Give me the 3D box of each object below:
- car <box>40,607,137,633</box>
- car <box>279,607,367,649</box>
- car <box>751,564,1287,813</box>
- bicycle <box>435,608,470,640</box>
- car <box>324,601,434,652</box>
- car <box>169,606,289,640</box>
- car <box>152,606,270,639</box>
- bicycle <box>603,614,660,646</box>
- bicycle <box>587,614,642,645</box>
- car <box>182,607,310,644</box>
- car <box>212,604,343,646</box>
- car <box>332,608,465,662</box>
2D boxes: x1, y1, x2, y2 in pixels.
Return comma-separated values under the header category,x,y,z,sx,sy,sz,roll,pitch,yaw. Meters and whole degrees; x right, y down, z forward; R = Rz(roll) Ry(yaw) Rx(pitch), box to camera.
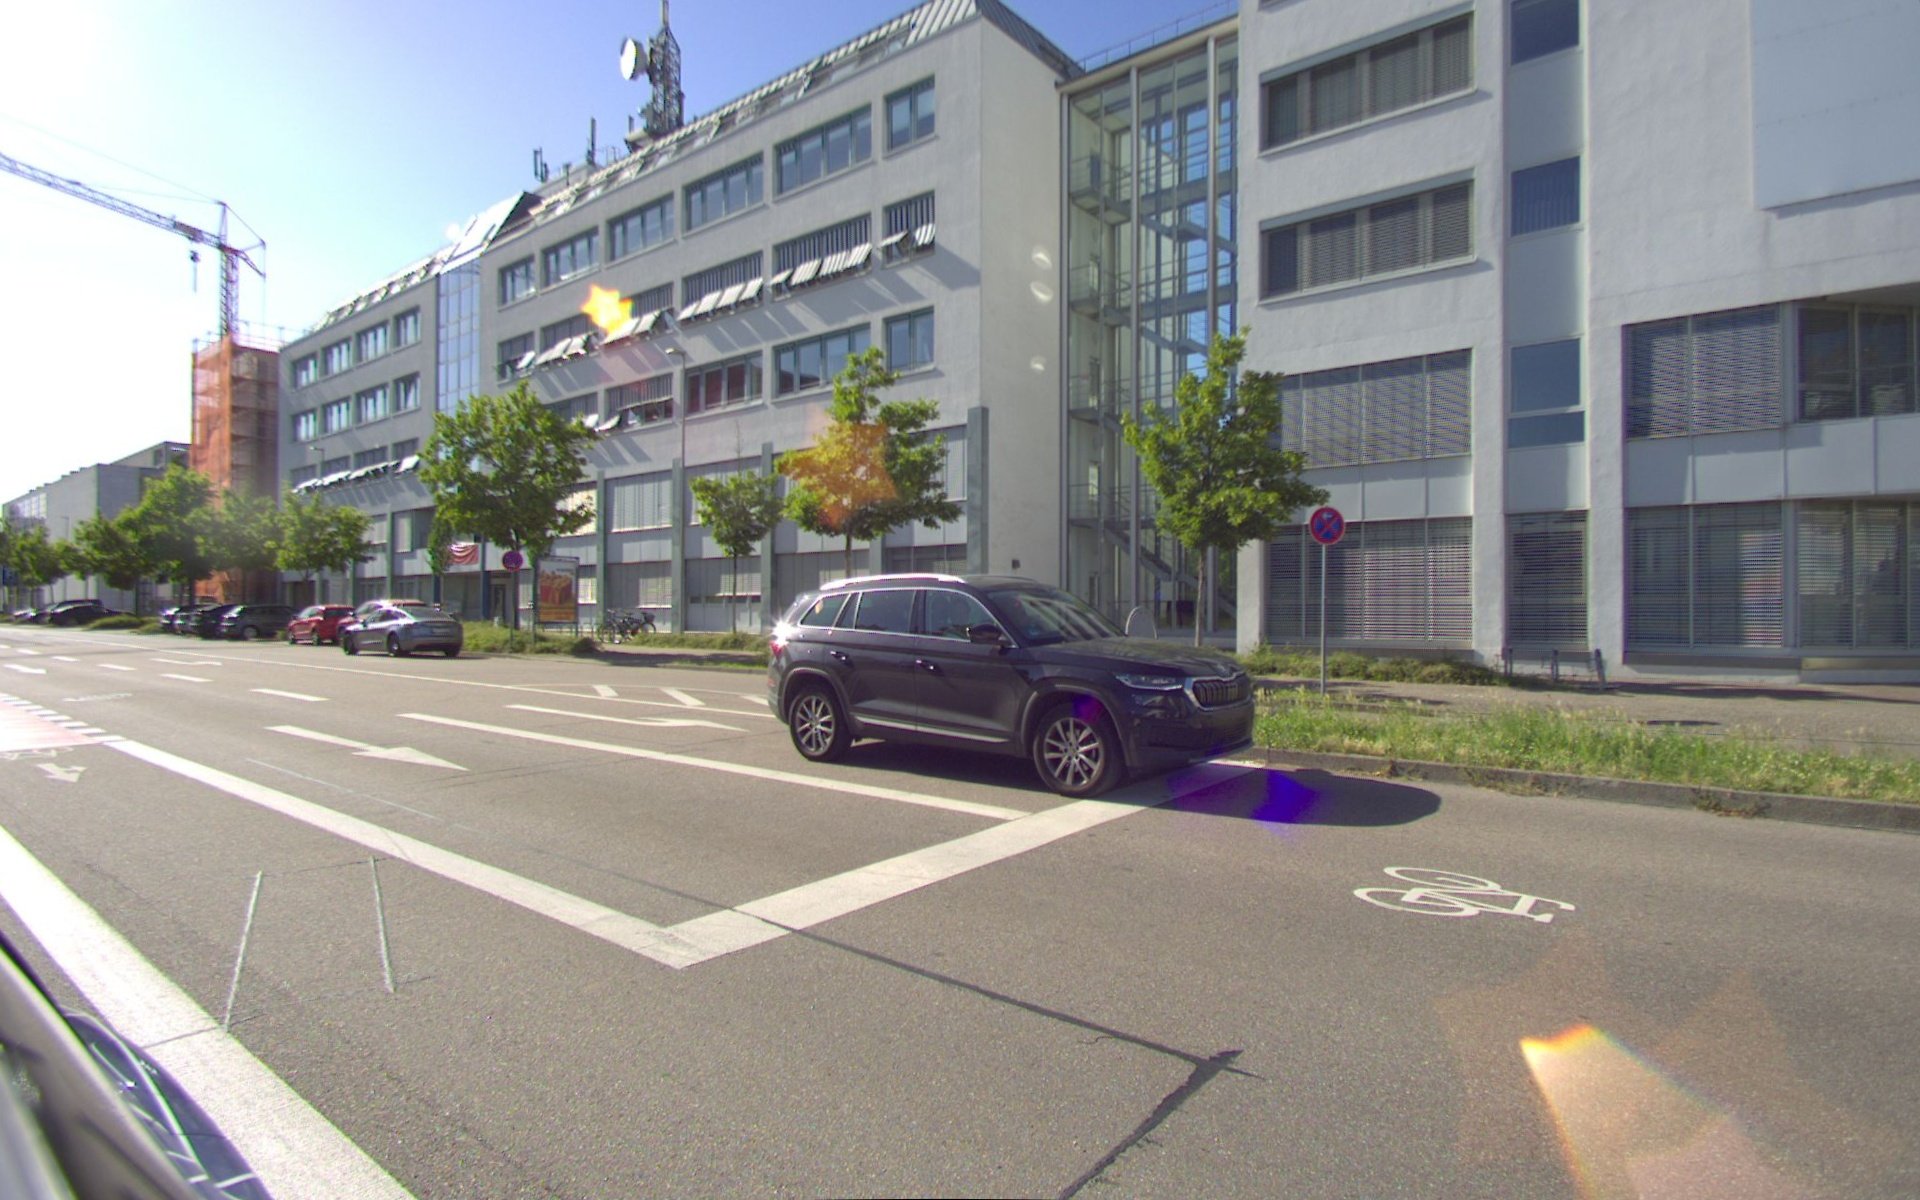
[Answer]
category,x,y,z,sx,sy,sz,roll,pitch,yaw
car,-55.393,1.245,64.368,1.973,1.442,4.347,-1,1,35
car,-23.952,1.016,38.035,3.868,1.442,1.671,0,1,40
car,0.312,0.570,8.763,4.474,1.640,1.736,0,1,40
bicycle,-22.115,1.032,44.076,0.701,1.357,2.233,3,-2,-45
car,-20.139,0.897,35.002,4.302,1.619,1.673,-1,1,36
car,-34.810,1.063,48.313,1.692,1.442,4.343,0,1,39
car,-36.537,1.064,49.425,1.692,1.442,4.342,0,1,39
bicycle,-11.458,1.050,35.301,1.767,1.077,0.622,2,-2,-43
bicycle,-12.165,1.052,35.657,1.746,1.077,0.556,2,-2,-43
car,-31.766,1.095,45.117,1.690,1.442,4.346,-1,1,36
car,-29.203,1.029,43.441,1.689,1.549,4.348,-1,1,35
car,-16.557,0.986,29.760,4.539,1.479,1.673,-1,-2,37
